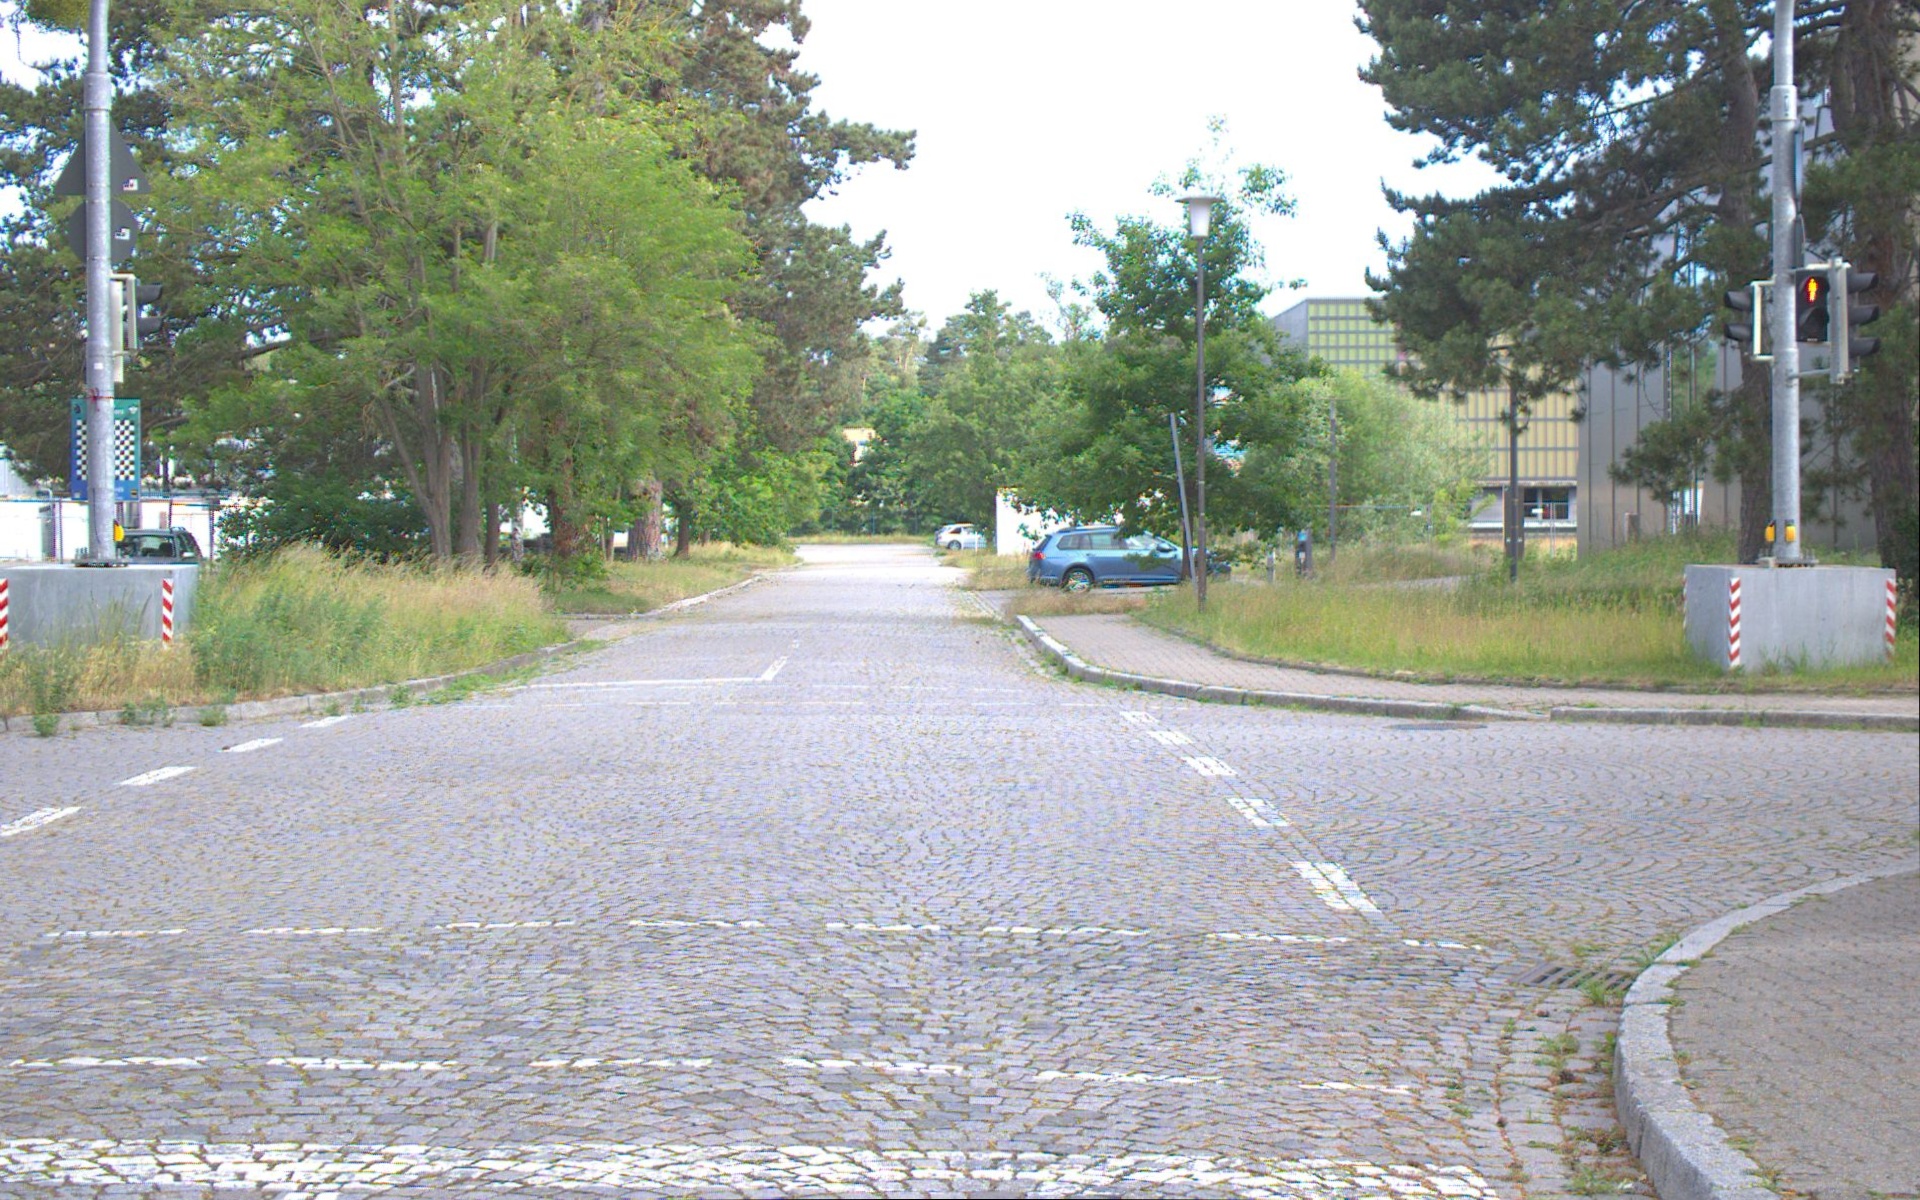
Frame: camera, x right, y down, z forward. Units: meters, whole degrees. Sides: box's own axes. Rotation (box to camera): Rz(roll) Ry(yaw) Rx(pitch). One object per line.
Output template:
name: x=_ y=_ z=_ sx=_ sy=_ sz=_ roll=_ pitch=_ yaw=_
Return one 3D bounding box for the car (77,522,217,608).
car: x=-14.504 y=-0.654 z=61.474 sx=1.613 sy=1.482 sz=4.000 roll=0 pitch=1 yaw=-1

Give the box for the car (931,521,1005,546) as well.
car: x=0.441 y=-3.760 z=193.617 sx=3.986 sy=1.393 sz=2.001 roll=0 pitch=1 yaw=-6

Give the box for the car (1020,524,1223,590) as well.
car: x=3.563 y=-0.968 z=76.583 sx=4.343 sy=1.417 sz=2.000 roll=0 pitch=1 yaw=-3
